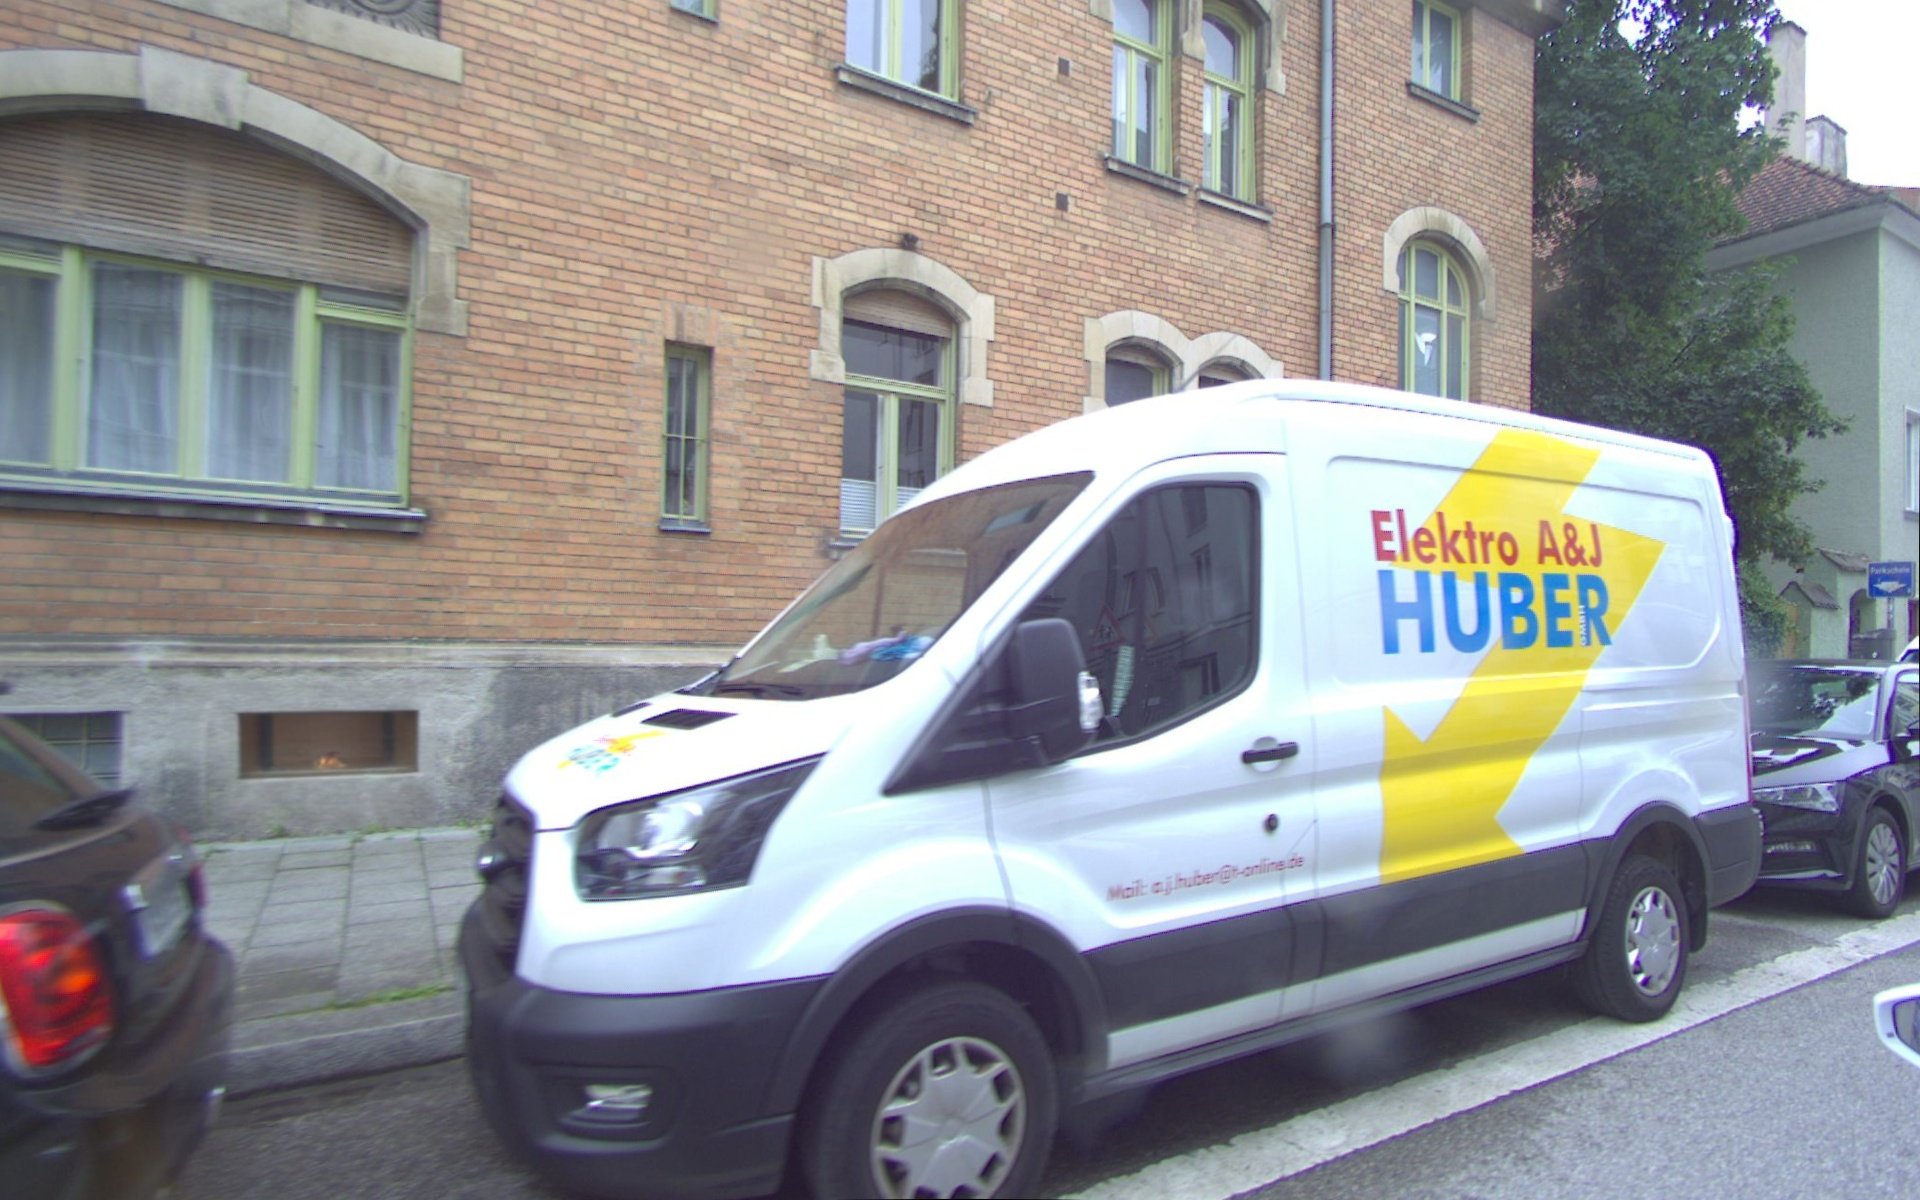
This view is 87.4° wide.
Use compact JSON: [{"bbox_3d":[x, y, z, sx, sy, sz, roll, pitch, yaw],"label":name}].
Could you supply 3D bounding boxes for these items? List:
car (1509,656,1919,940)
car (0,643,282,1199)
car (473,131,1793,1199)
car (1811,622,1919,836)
[{"bbox_3d":[5.835,1.122,7.011,4.119,1.439,1.706,2,-3,-31],"label":"car"},{"bbox_3d":[-3.419,0.781,1.589,3.750,1.434,1.756,2,-3,-31],"label":"car"},{"bbox_3d":[1.001,0.490,4.084,5.172,2.508,2.101,2,-3,-31],"label":"car"},{"bbox_3d":[9.886,1.135,9.390,4.202,1.779,1.706,2,-3,-31],"label":"car"}]
